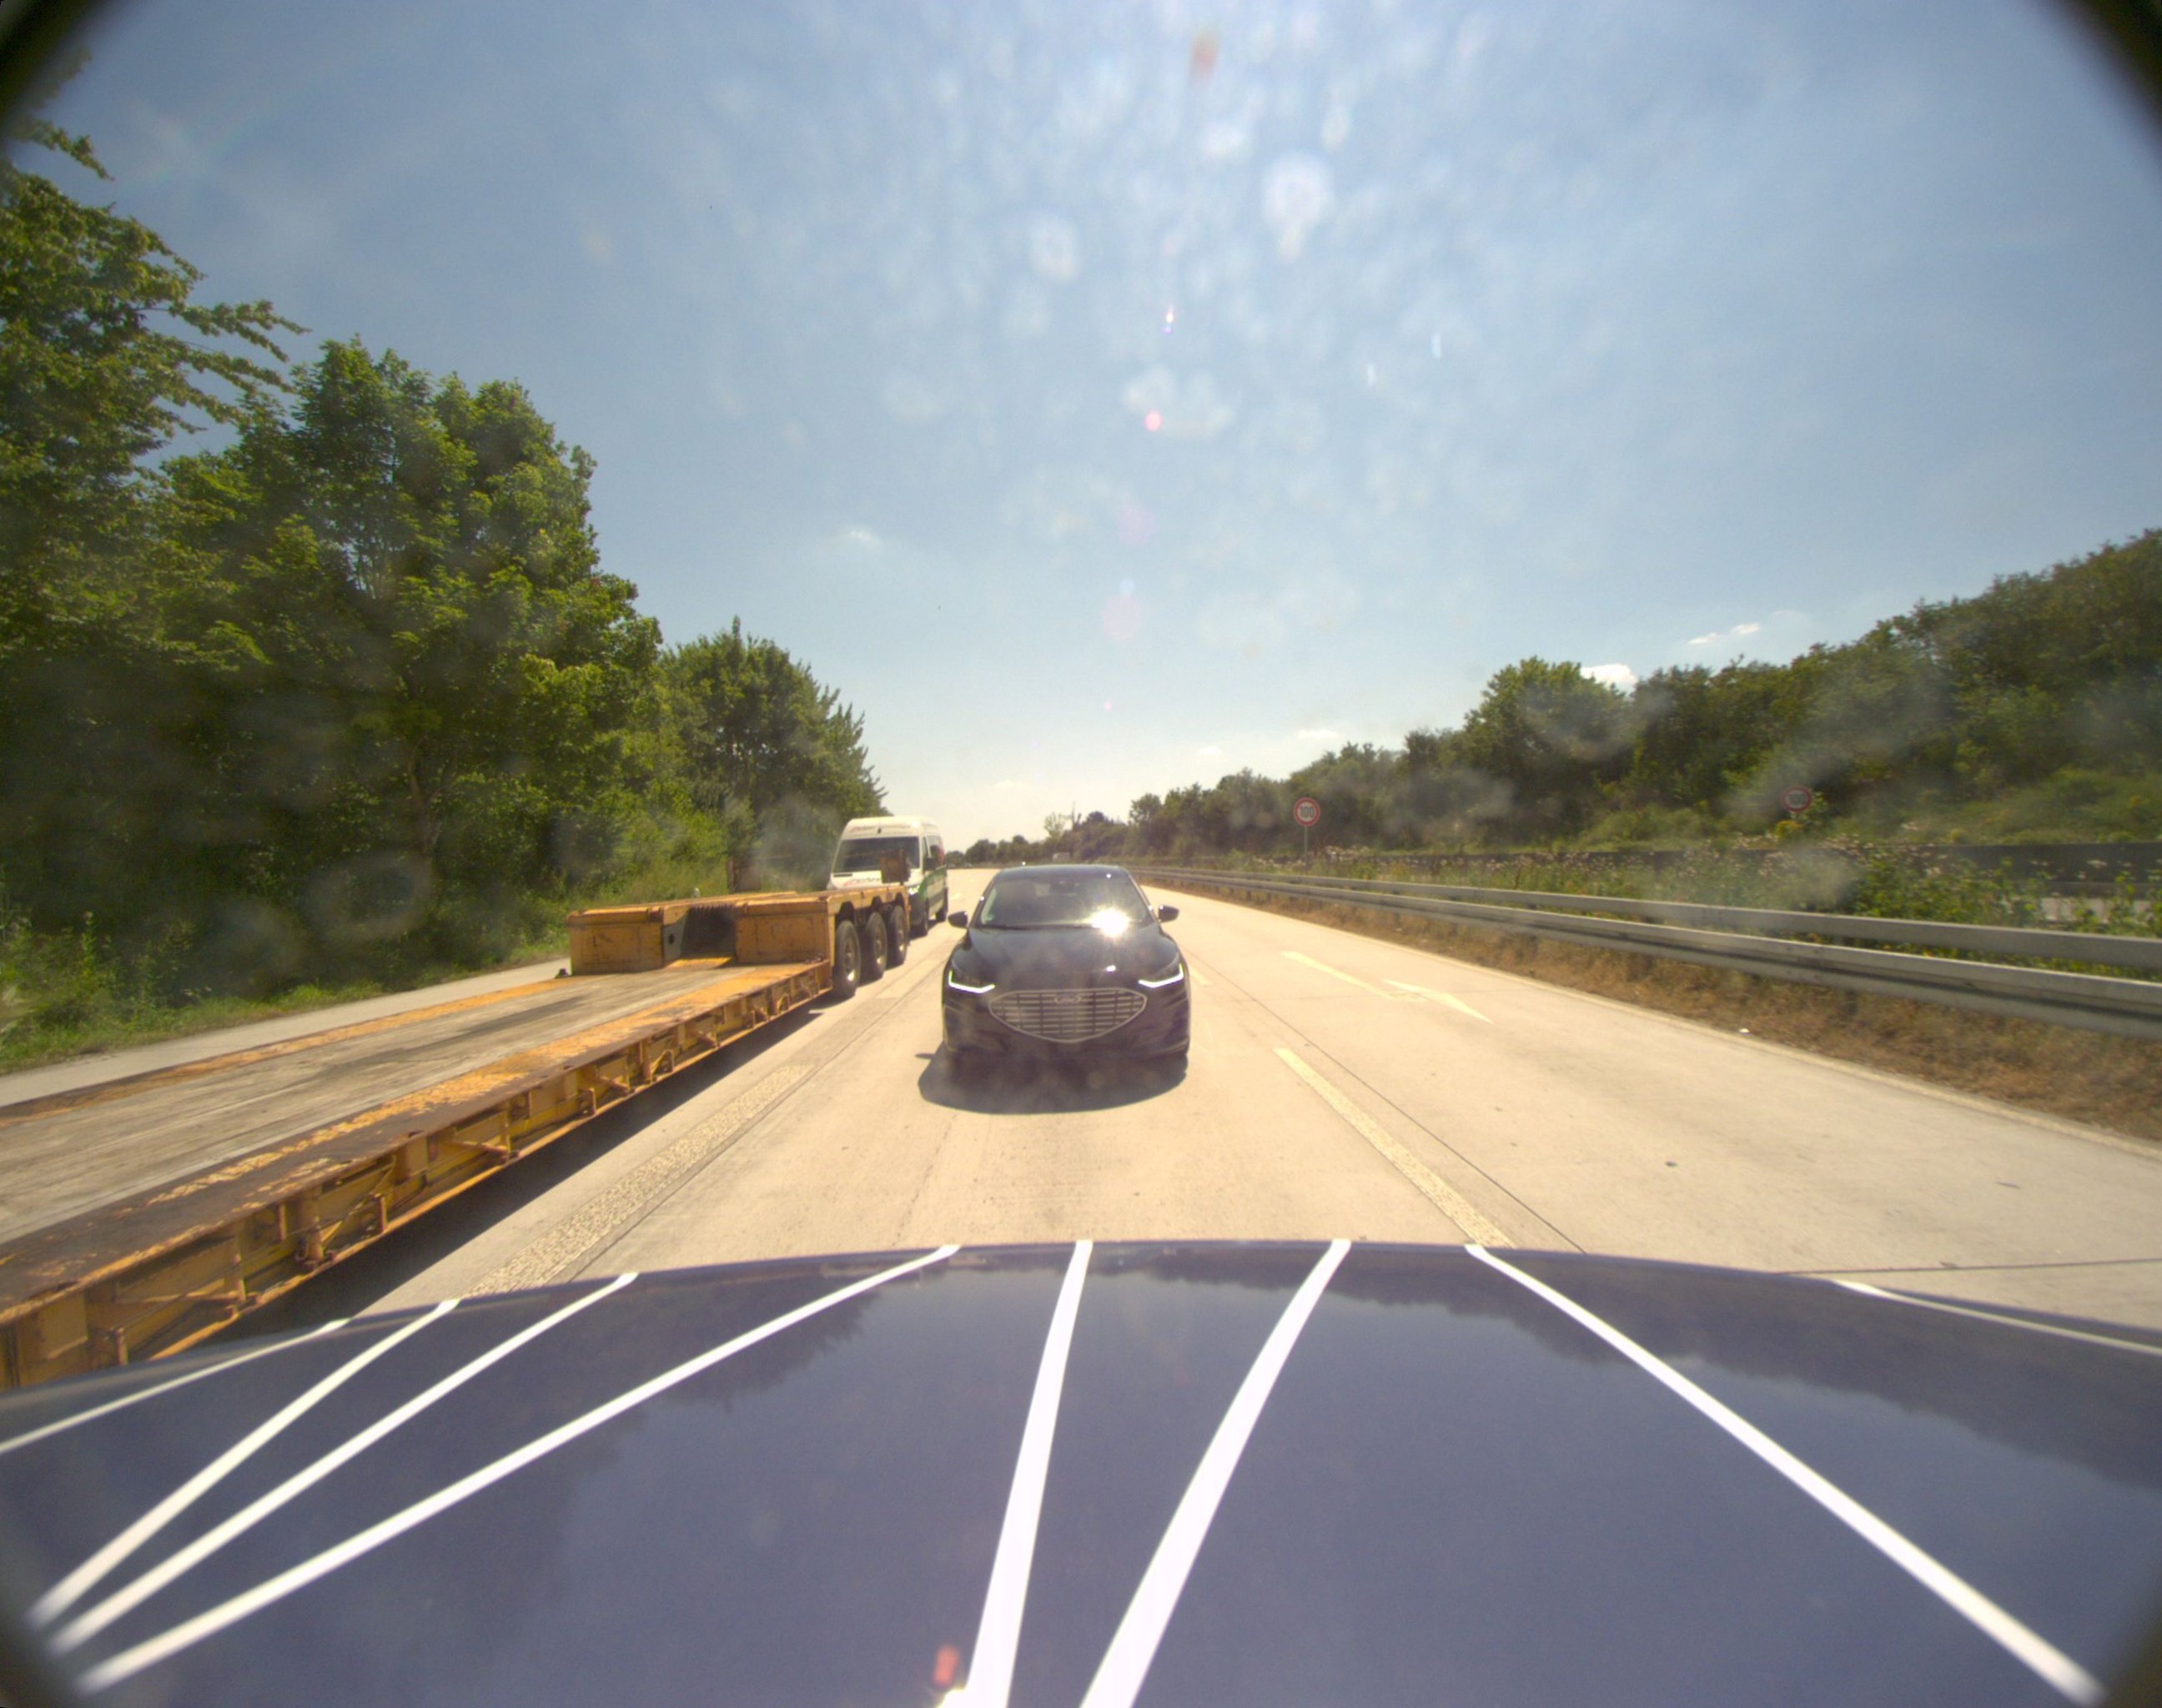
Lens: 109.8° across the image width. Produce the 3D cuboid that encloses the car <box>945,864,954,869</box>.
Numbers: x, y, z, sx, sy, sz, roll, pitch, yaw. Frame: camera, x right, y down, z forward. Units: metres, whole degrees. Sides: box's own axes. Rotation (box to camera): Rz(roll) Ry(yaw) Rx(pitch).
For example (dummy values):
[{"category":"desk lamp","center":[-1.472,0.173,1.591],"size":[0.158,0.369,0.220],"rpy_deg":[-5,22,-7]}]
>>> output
[{"category":"car","center":[-37.295,3.546,215.335],"size":[1.709,1.456,3.992],"rpy_deg":[-3,1,-23]}]

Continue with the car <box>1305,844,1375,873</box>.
[{"category":"car","center":[14.093,0.222,41.700],"size":[1.878,1.438,4.600],"rpy_deg":[-2,1,-5]}]

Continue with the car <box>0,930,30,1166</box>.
[{"category":"car","center":[-7.568,1.260,2.512],"size":[1.772,1.453,4.597],"rpy_deg":[-2,1,-1]}]

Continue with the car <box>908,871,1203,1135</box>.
[{"category":"car","center":[-0.125,0.951,6.746],"size":[1.731,1.430,4.304],"rpy_deg":[-2,0,1]}]

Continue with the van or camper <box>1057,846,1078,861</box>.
[{"category":"van or camper","center":[-1.969,-0.100,109.923],"size":[2.179,2.002,5.633],"rpy_deg":[-2,1,-10]}]

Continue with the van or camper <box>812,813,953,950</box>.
[{"category":"van or camper","center":[-4.295,0.501,17.560],"size":[2.069,2.559,5.904],"rpy_deg":[-2,1,-5]}]

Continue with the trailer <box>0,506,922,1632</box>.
[{"category":"trailer","center":[-4.025,0.526,3.810],"size":[3.035,2.578,16.355],"rpy_deg":[-2,0,0]}]
